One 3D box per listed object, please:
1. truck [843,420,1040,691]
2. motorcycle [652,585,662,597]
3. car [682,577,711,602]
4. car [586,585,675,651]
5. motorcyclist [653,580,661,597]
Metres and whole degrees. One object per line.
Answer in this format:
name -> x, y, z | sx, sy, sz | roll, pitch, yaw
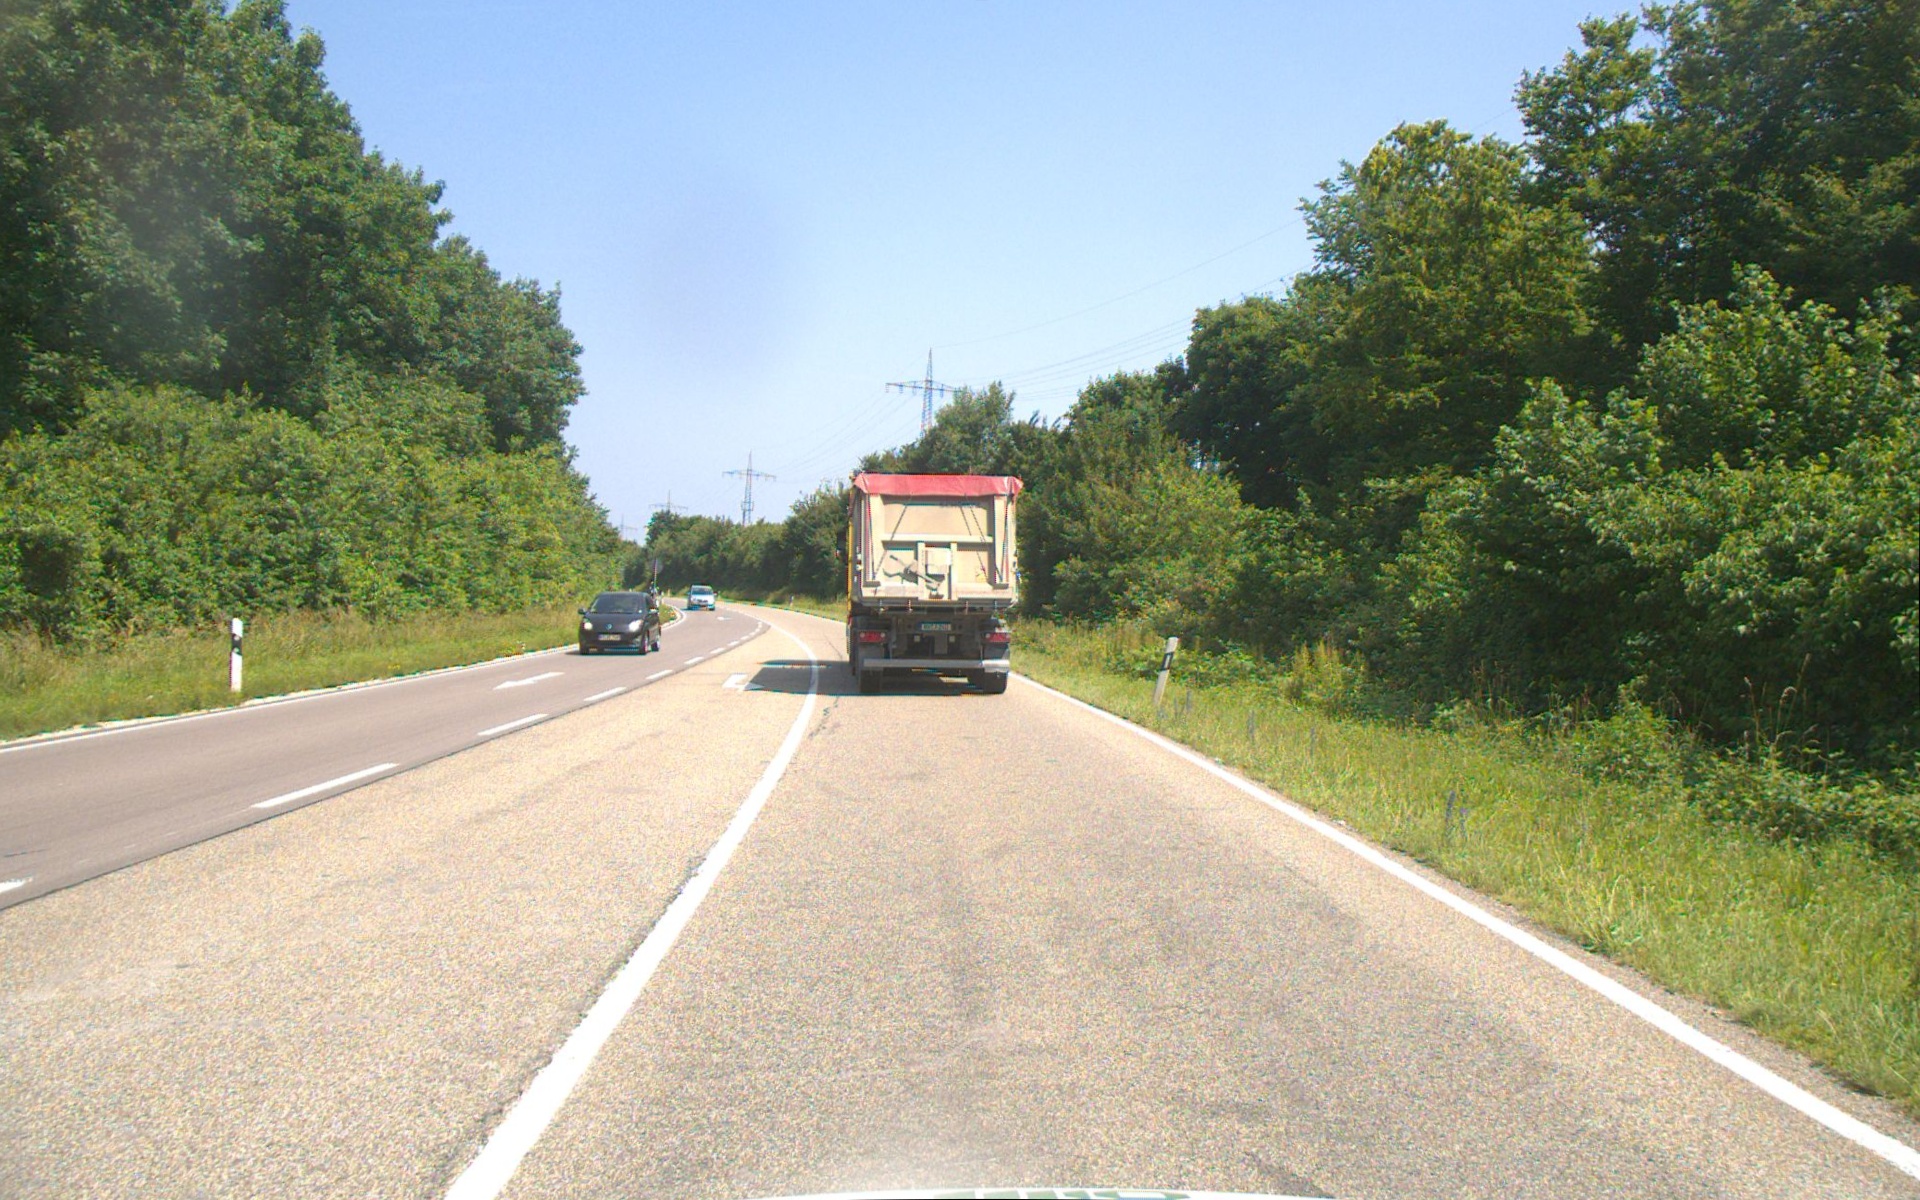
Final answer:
truck -> -0.690, -0.701, 30.945 | 2.836, 4.031, 11.921 | 1, 0, -5
motorcycle -> -31.049, -0.930, 169.331 | 0.929, 1.272, 2.675 | 1, 0, -10
car -> -17.920, -0.697, 112.490 | 1.768, 1.665, 4.205 | 1, 0, -7
car -> -7.994, 0.417, 40.337 | 1.582, 1.528, 3.551 | 1, 0, -2
motorcyclist -> -31.099, -1.182, 169.856 | 0.815, 1.782, 0.621 | 1, 0, -11
